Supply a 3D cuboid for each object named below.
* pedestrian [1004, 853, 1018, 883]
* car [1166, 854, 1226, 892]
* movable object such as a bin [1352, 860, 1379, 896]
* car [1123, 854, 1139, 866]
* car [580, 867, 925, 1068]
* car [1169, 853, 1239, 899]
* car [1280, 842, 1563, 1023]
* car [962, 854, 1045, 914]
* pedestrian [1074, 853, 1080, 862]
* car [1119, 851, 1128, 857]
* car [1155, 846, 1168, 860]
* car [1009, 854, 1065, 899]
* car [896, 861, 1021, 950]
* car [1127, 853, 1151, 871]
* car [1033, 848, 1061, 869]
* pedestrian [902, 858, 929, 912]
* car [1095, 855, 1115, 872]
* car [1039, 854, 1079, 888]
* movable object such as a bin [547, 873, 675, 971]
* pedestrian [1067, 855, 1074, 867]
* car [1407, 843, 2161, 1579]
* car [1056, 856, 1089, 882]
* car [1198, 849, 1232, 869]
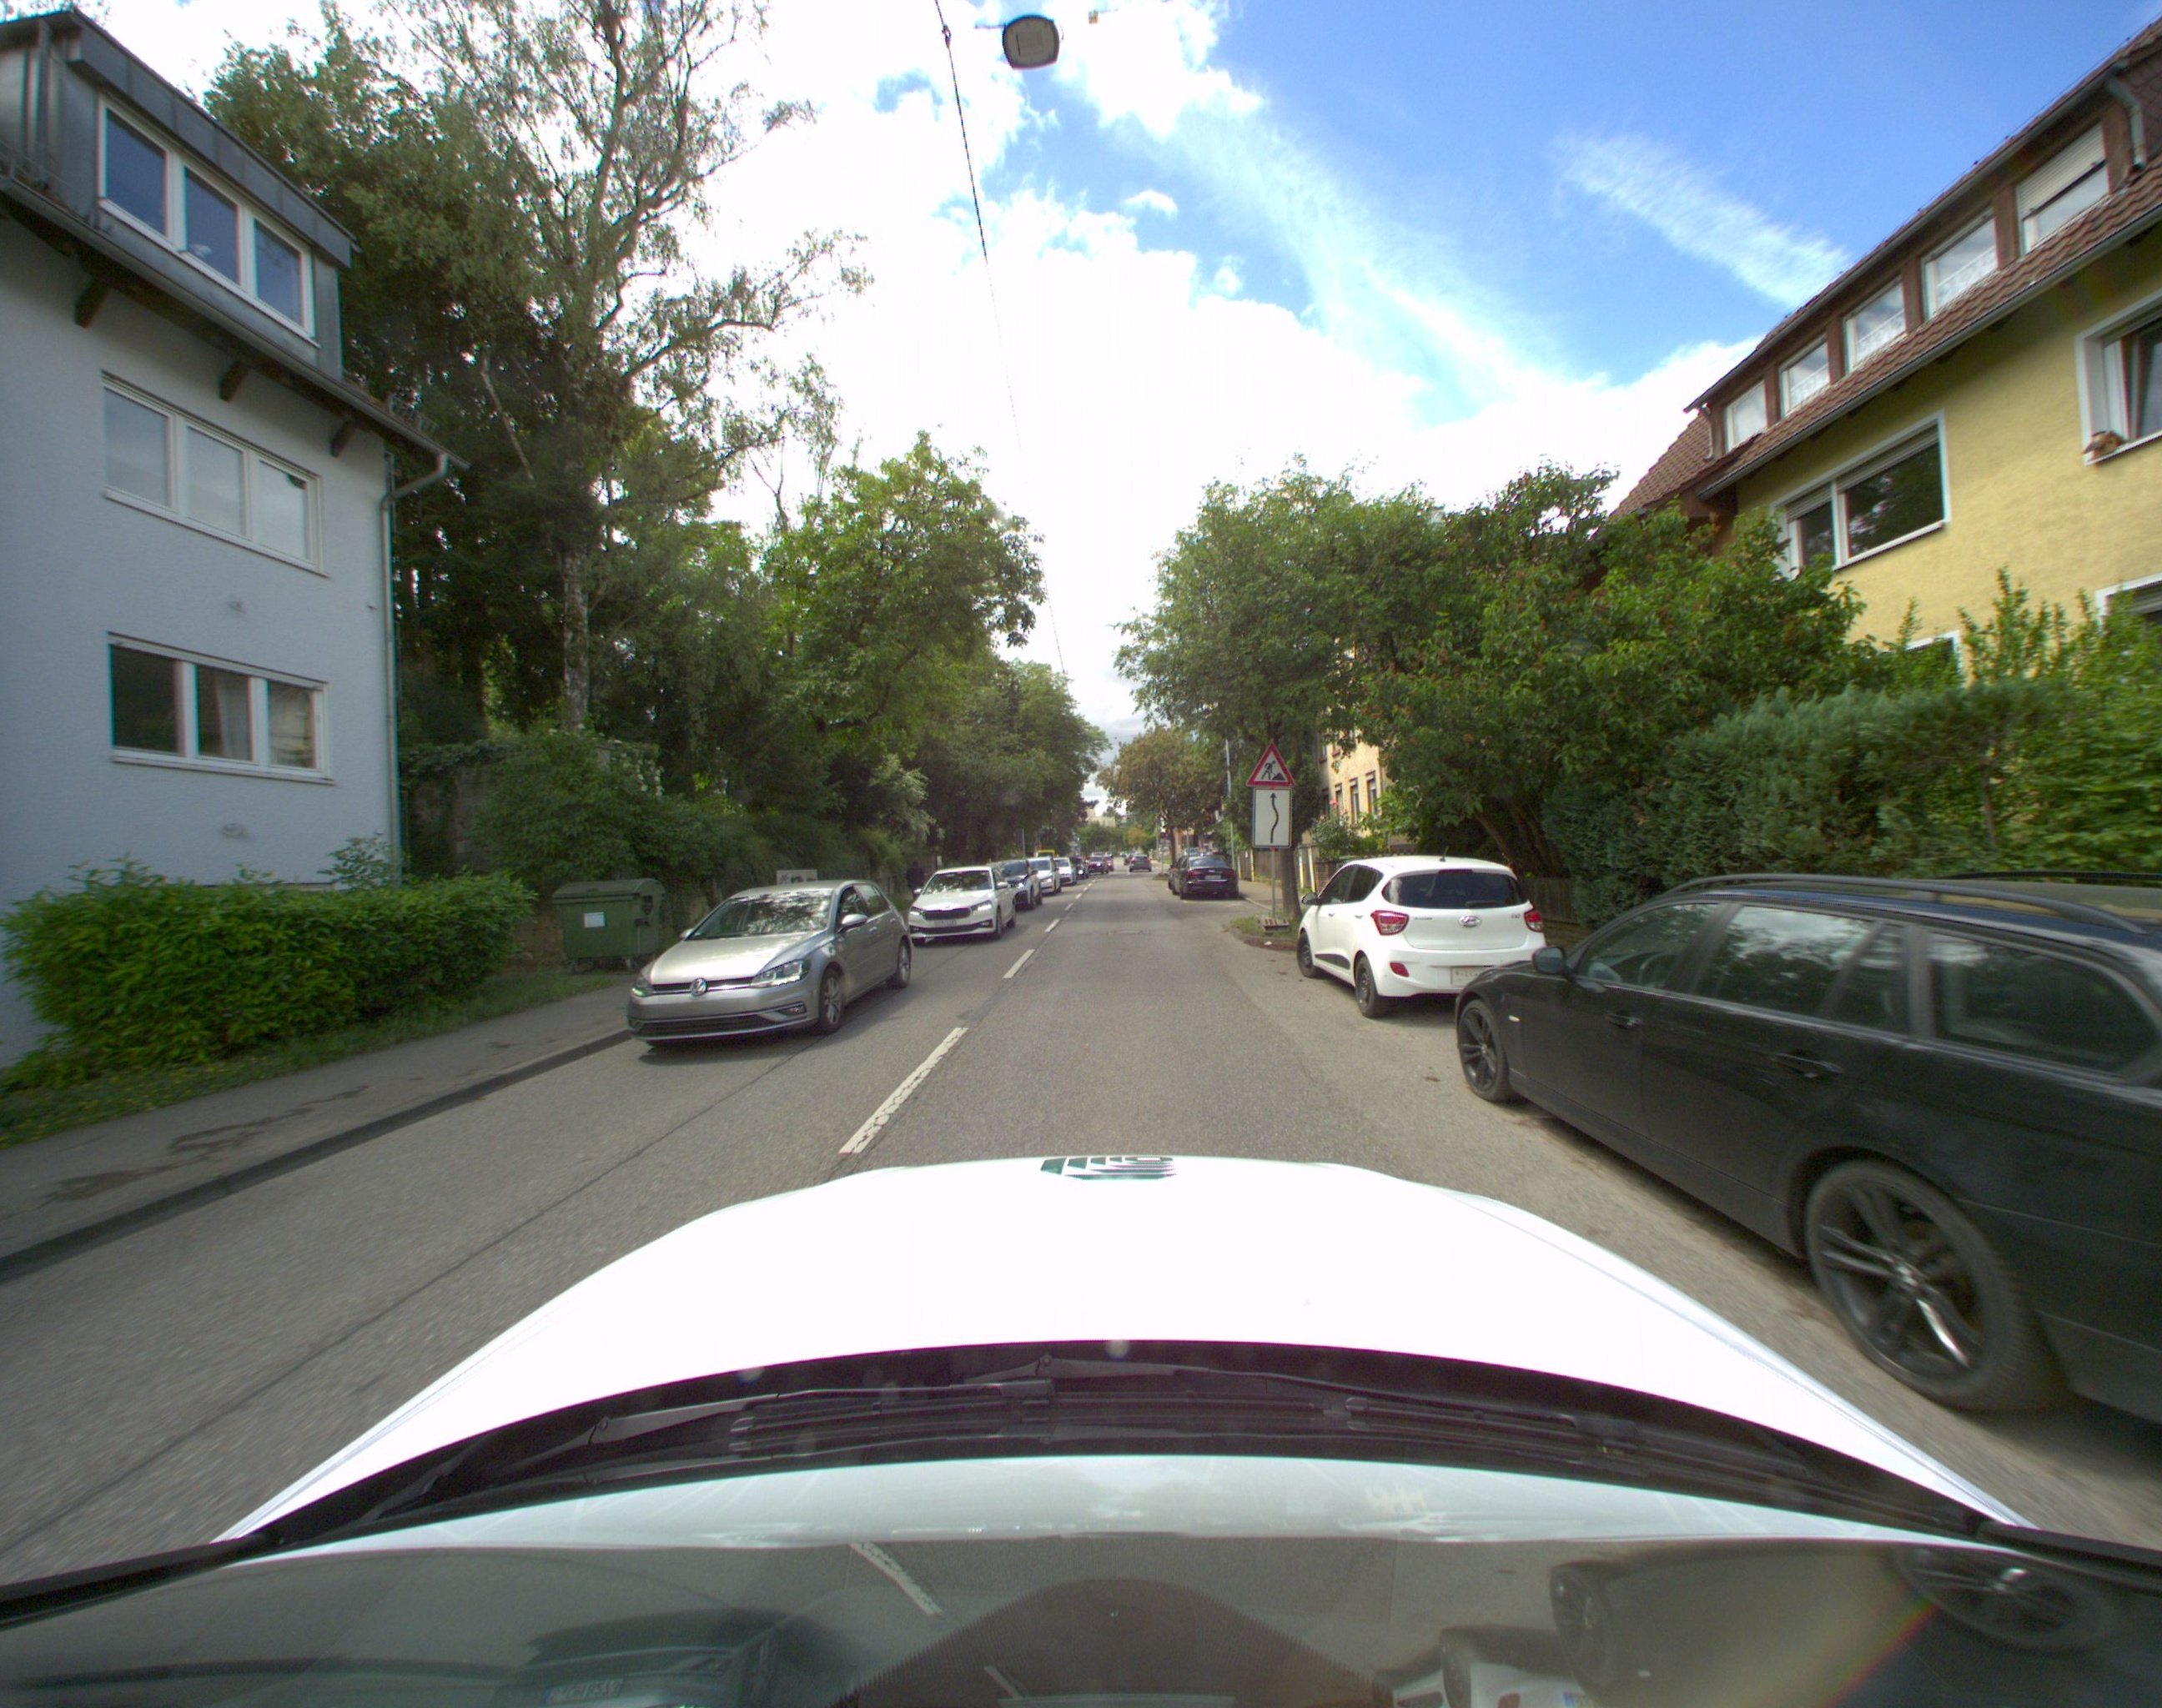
[{"bbox_3d":[-4.259,0.852,49.635,0.712,1.762,1.121,-2,-1,-3],"label":"pedestrian"},{"bbox_3d":[4.609,0.719,33.264,1.818,1.417,4.509,-1,0,0],"label":"car"},{"bbox_3d":[7.920,0.673,22.679,0.505,0.935,0.520,-4,2,2],"label":"movable object such as a bin"},{"bbox_3d":[6.403,0.775,104.742,1.810,1.501,4.267,-1,0,1],"label":"car"},{"bbox_3d":[-3.114,0.969,8.833,1.702,1.455,4.290,-6,-1,3],"label":"car"},{"bbox_3d":[4.134,0.688,28.066,1.795,1.445,4.888,0,0,1],"label":"car"},{"bbox_3d":[3.426,0.686,8.992,1.615,1.507,3.781,-3,0,2],"label":"car"},{"bbox_3d":[-2.332,0.875,25.664,1.920,1.546,4.089,-6,0,2],"label":"car"},{"bbox_3d":[-0.649,0.607,133.140,0.701,1.439,0.715,-2,-1,6],"label":"pedestrian"},{"bbox_3d":[11.002,-0.018,212.535,2.101,1.501,4.273,-3,0,5],"label":"car"},{"bbox_3d":[12.609,-0.100,127.736,1.985,2.014,4.004,-2,-1,4],"label":"car"},{"bbox_3d":[-1.780,0.879,34.267,1.779,1.648,4.494,-5,0,3],"label":"car"},{"bbox_3d":[-2.385,0.967,16.922,1.753,1.439,3.972,-4,0,2],"label":"car"},{"bbox_3d":[5.004,0.674,69.957,1.967,1.513,4.273,1,0,5],"label":"car"},{"bbox_3d":[-3.446,0.449,83.034,2.136,1.981,4.937,-2,-1,5],"label":"car"},{"bbox_3d":[-5.303,0.970,26.082,0.651,1.667,0.931,-2,-1,-3],"label":"pedestrian"},{"bbox_3d":[2.237,0.893,75.651,1.683,1.425,3.441,-2,-1,4],"label":"car"},{"bbox_3d":[-1.149,0.884,44.295,1.778,1.591,4.157,-4,0,3],"label":"car"},{"bbox_3d":[-7.466,1.041,13.027,1.327,1.427,1.212,-2,-1,-4],"label":"movable object such as a bin"},{"bbox_3d":[-1.207,0.816,96.376,0.704,1.439,0.711,-2,-1,-9],"label":"pedestrian"},{"bbox_3d":[3.296,0.714,3.714,1.985,1.423,4.593,-3,0,4],"label":"car"},{"bbox_3d":[-0.530,0.974,55.777,1.781,1.542,4.268,-4,0,4],"label":"car"},{"bbox_3d":[9.699,0.363,59.244,1.718,1.316,4.267,-2,0,0],"label":"car"}]
